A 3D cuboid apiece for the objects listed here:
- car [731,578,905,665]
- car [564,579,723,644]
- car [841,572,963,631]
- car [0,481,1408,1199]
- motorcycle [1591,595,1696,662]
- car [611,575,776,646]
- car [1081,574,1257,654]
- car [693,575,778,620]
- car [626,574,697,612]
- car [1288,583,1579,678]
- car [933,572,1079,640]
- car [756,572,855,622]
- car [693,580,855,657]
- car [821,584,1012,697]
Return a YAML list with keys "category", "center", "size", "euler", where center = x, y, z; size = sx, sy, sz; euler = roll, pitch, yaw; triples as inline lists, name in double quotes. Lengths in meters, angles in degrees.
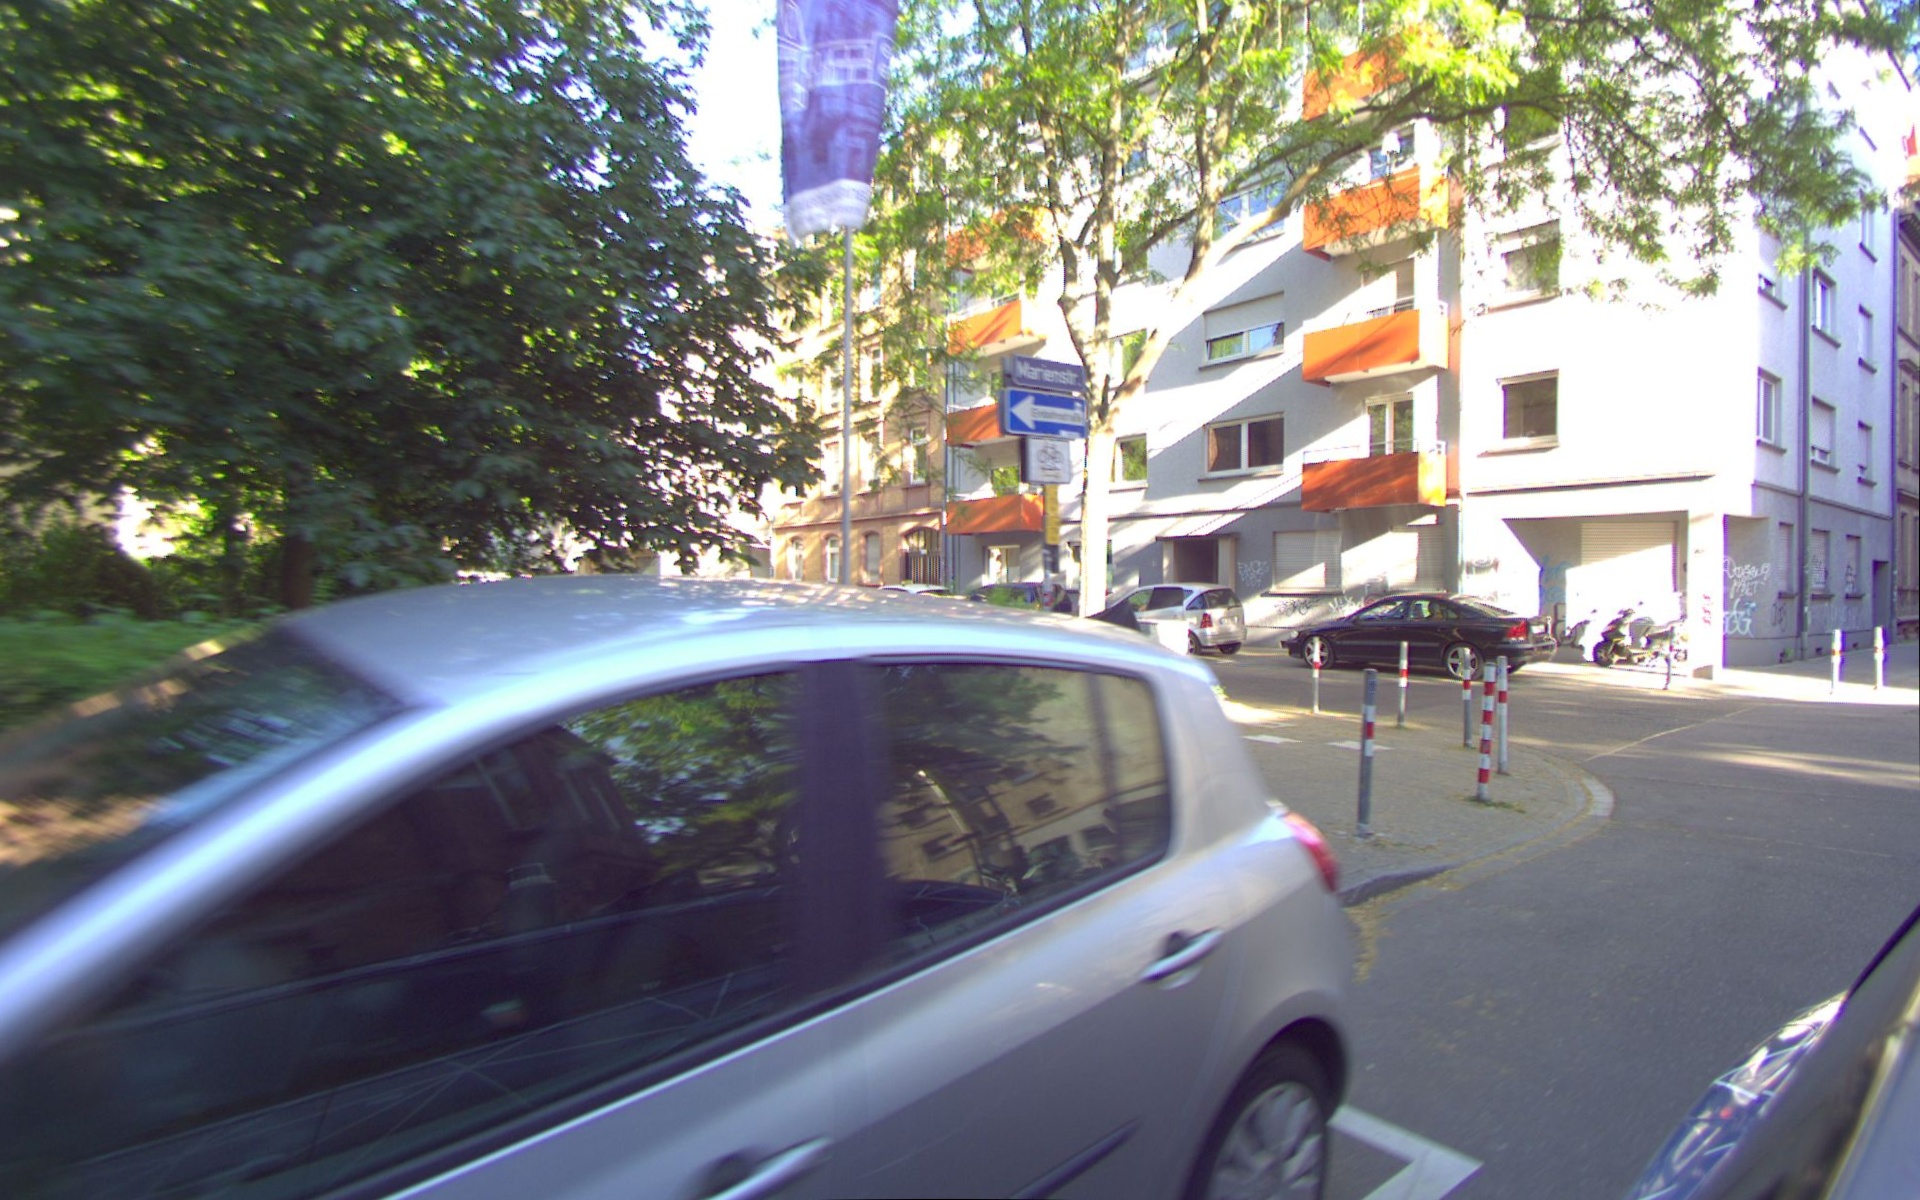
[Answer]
- category: "car"
  center: [-2.640, 0.340, 19.926]
  size: [1.757, 1.449, 4.395]
  euler: [-1, 2, 16]
- category: "car"
  center: [-7.970, 0.224, 25.970]
  size: [1.757, 1.449, 4.395]
  euler: [-1, 2, 16]
- category: "car"
  center: [-1.827, -0.009, 30.795]
  size: [1.621, 1.598, 3.999]
  euler: [-4, 4, -39]
- category: "car"
  center: [-0.995, 0.632, 1.697]
  size: [3.765, 1.538, 1.713]
  euler: [-2, 3, -40]
- category: "motorcycle"
  center: [12.535, 0.497, 18.570]
  size: [1.468, 1.131, 0.894]
  euler: [1, 1, 45]
- category: "car"
  center: [-6.132, 0.185, 23.885]
  size: [1.757, 1.449, 4.395]
  euler: [-1, 2, 16]
- category: "car"
  center: [4.663, 0.245, 22.951]
  size: [1.621, 1.577, 3.694]
  euler: [-4, 4, -39]
- category: "car"
  center: [-8.884, -0.147, 39.815]
  size: [1.621, 1.598, 3.999]
  euler: [-4, 4, -39]
- category: "car"
  center: [-13.631, -0.353, 46.119]
  size: [1.621, 1.598, 3.999]
  euler: [-4, 4, -39]
- category: "car"
  center: [8.290, 0.445, 18.084]
  size: [1.751, 1.449, 4.411]
  euler: [-2, 2, -39]
- category: "car"
  center: [1.162, 0.098, 27.249]
  size: [1.621, 1.636, 4.035]
  euler: [-4, 4, -39]
- category: "car"
  center: [-5.505, -0.140, 35.708]
  size: [1.621, 1.598, 3.999]
  euler: [-4, 4, -39]
- category: "car"
  center: [-3.966, 0.342, 22.397]
  size: [1.757, 1.449, 4.395]
  euler: [-1, 2, 16]
- category: "car"
  center: [-0.521, 0.537, 16.208]
  size: [1.757, 1.449, 4.395]
  euler: [-1, 2, 16]
